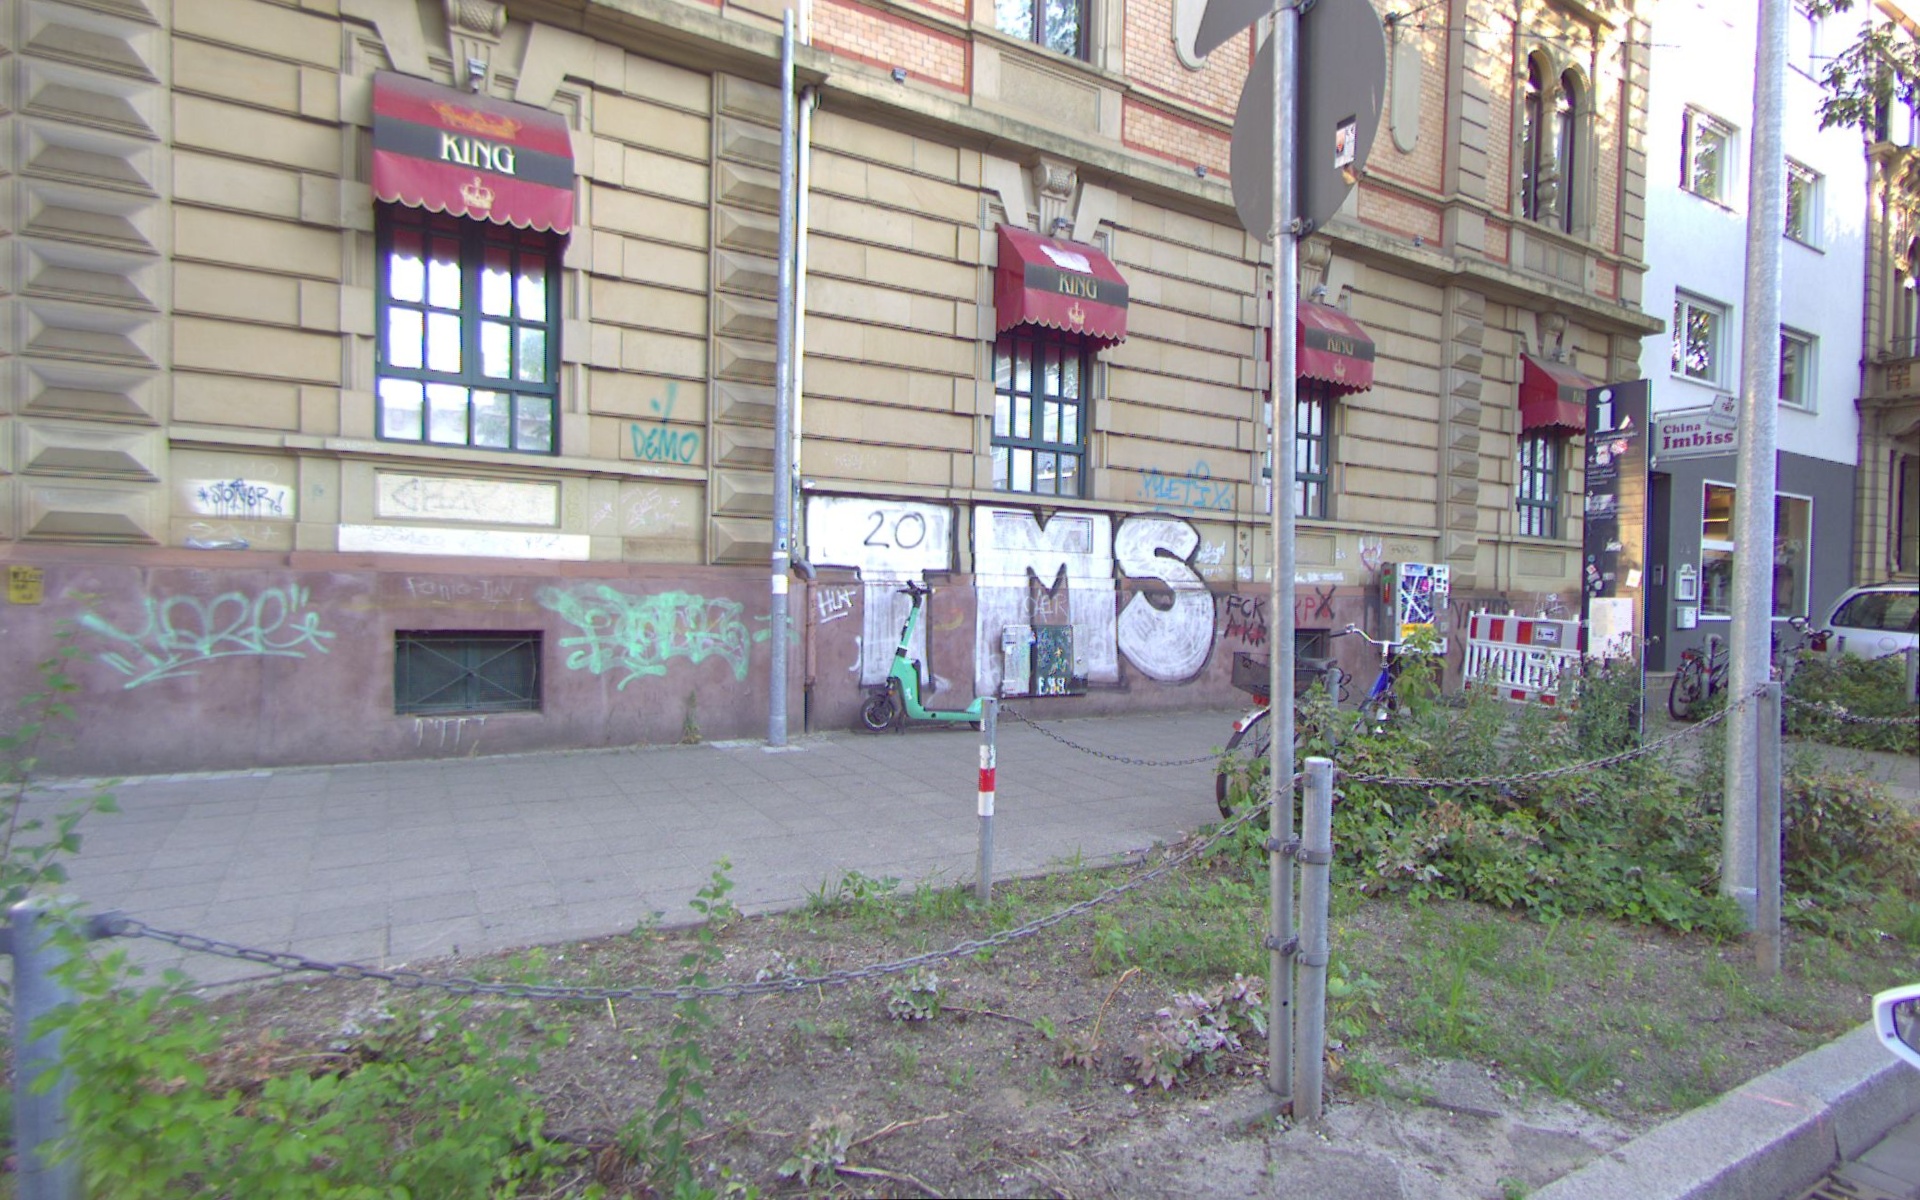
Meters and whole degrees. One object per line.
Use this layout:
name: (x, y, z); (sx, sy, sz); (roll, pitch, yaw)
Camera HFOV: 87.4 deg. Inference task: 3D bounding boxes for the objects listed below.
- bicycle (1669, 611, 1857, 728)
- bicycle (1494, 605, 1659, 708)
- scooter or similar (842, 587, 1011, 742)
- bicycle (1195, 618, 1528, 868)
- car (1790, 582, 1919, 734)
bicycle: (9.265, 0.756, 11.556); (2.602, 1.202, 0.731); (1, 2, -30)
bicycle: (7.944, 0.696, 12.897); (2.532, 1.218, 0.634); (1, 0, -29)
scooter or similar: (-0.274, 0.511, 8.125); (1.267, 1.184, 0.438); (1, 2, -18)
bicycle: (2.258, 0.696, 5.529); (2.077, 1.169, 0.508); (0, 2, -31)
car: (12.994, 0.728, 11.911); (1.813, 1.859, 4.522); (1, 0, -32)
